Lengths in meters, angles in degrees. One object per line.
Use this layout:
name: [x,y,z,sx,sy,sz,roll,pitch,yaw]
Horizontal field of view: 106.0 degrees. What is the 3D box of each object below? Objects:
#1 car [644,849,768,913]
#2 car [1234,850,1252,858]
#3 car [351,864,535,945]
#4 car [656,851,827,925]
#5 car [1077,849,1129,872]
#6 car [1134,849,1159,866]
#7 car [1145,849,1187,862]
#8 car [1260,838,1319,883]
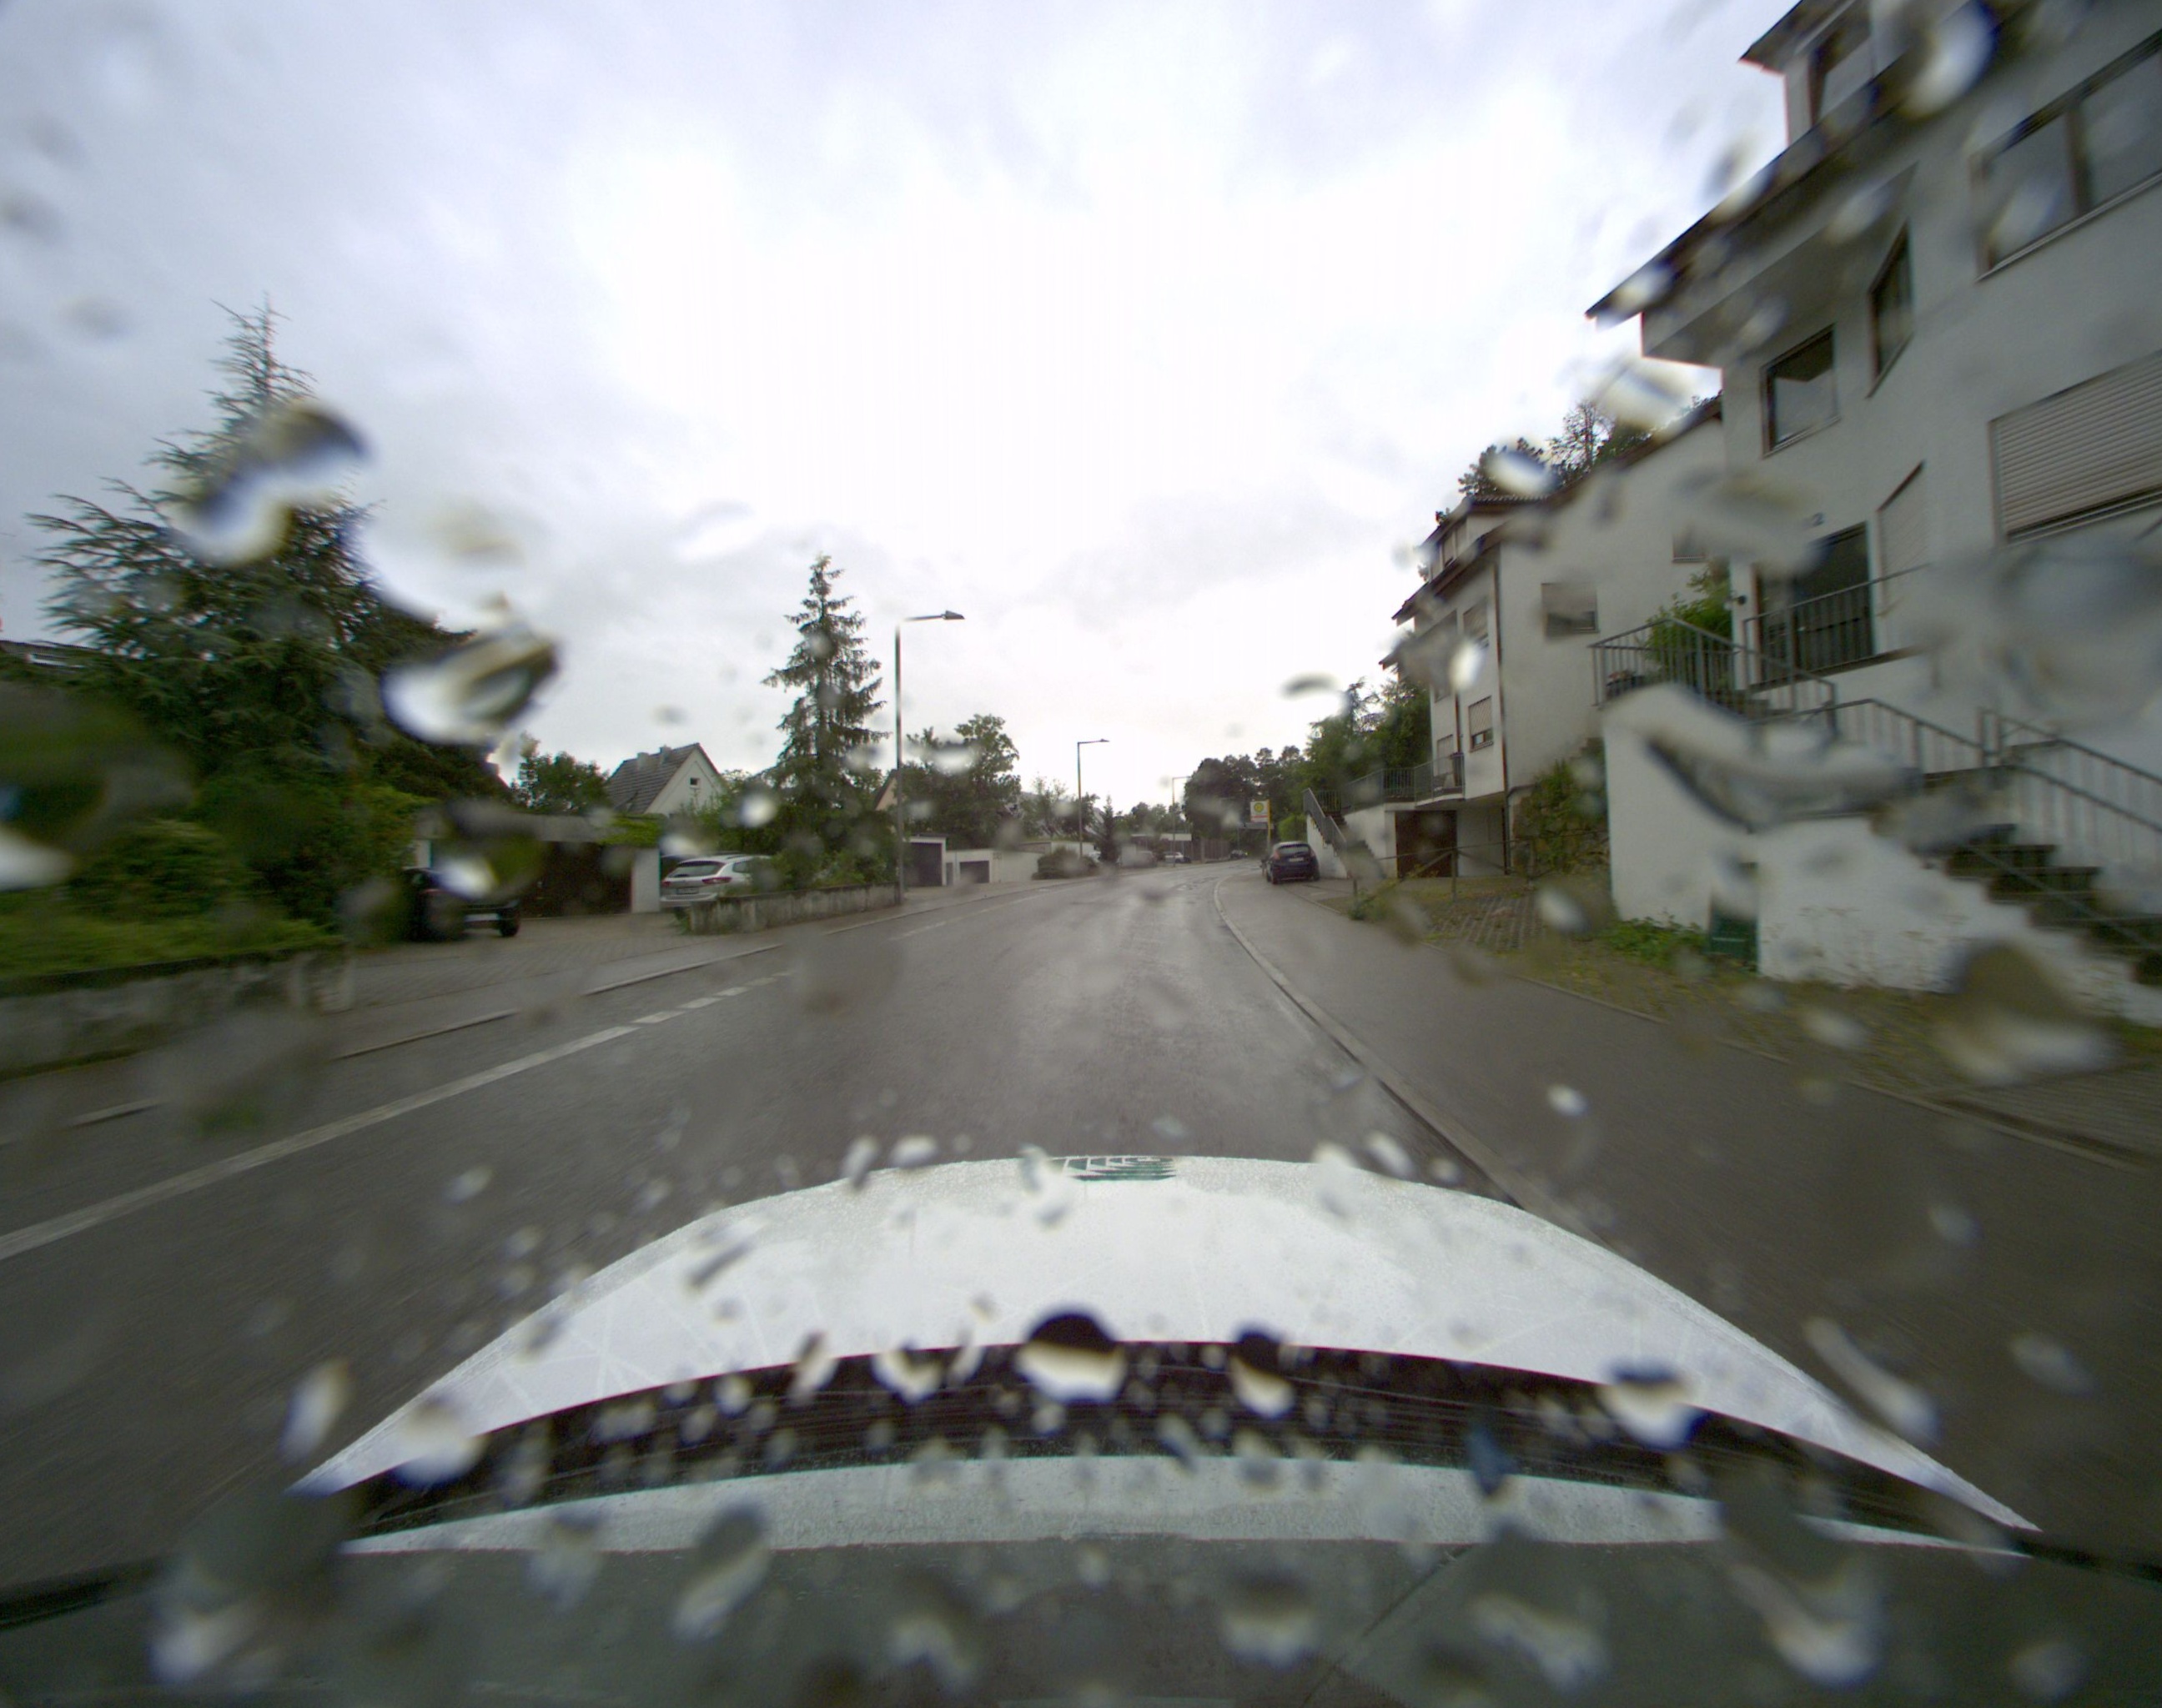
car: [-11.962,0.852,25.891,3.948,1.838,2.013,-2,-1,39]
car: [28.746,-0.031,144.460,1.853,1.469,3.682,-1,0,-14]
car: [-13.266,0.970,16.876,3.948,1.437,1.954,-1,0,36]
car: [-7.863,0.732,19.322,1.723,1.551,4.013,-2,0,12]
car: [1.655,0.458,58.620,1.688,1.553,4.417,-1,0,33]
car: [5.811,0.325,71.783,1.822,1.405,4.271,-1,0,10]
car: [9.730,0.173,93.691,4.535,1.442,1.749,0,0,-21]
car: [7.726,0.215,30.449,1.695,1.454,4.031,-5,-1,9]
